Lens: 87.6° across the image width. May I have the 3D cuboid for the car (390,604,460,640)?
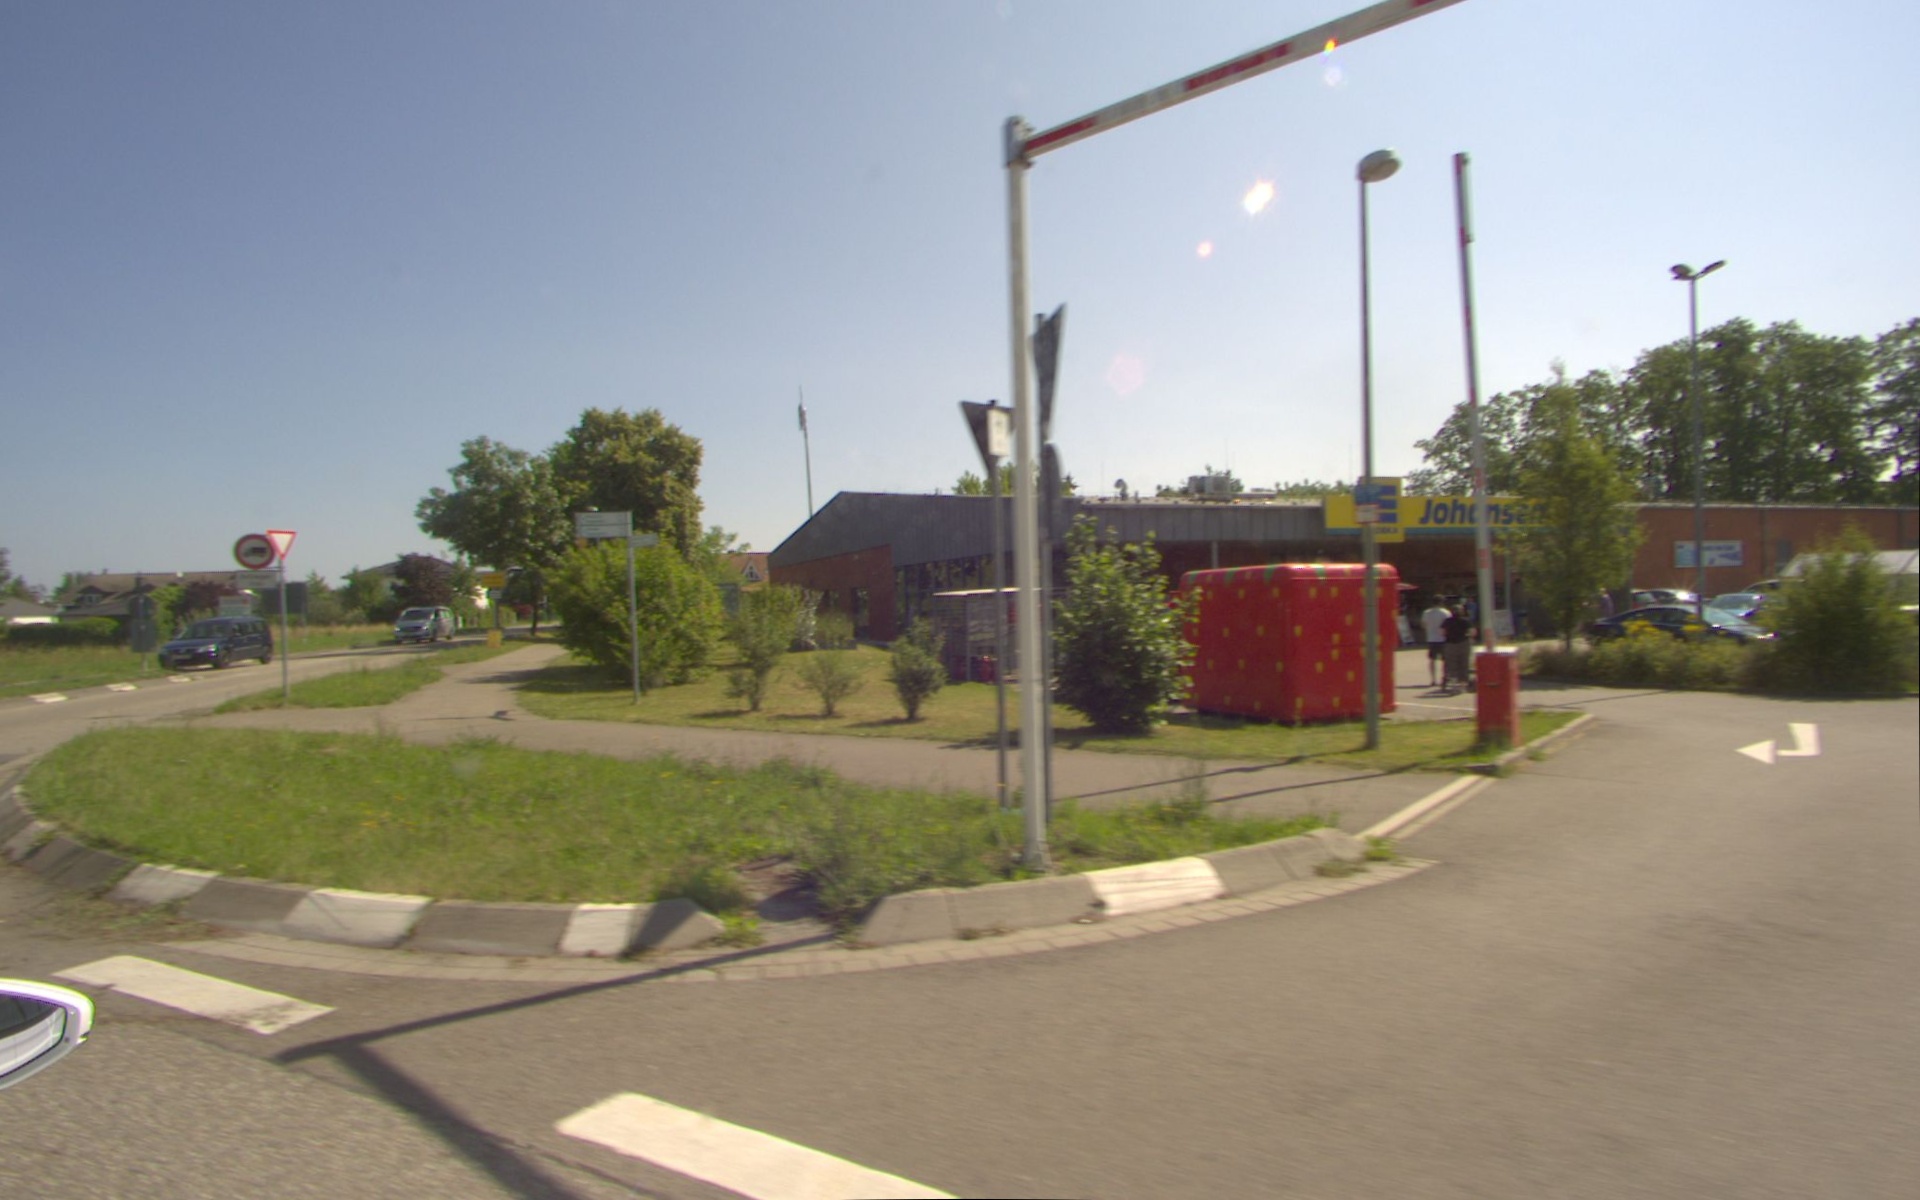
[{"bbox_3d":[-29.109,1.147,54.668,1.963,1.840,5.195,-2,0,-12],"label":"car"}]

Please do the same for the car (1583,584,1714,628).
[{"bbox_3d":[28.106,0.248,40.989,1.969,1.706,3.984,-1,0,-26],"label":"car"}]

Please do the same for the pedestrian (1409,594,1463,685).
[{"bbox_3d":[10.052,0.827,21.178,0.825,1.896,0.774,-1,1,8],"label":"pedestrian"}]

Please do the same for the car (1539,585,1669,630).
[{"bbox_3d":[25.920,0.310,40.457,1.969,1.706,3.984,-1,0,-26],"label":"car"}]

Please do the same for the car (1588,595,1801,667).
[{"bbox_3d":[18.489,0.752,25.422,1.880,1.644,3.990,-1,0,-20],"label":"car"}]

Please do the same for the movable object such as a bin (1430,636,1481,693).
[{"bbox_3d":[9.755,1.250,19.744,0.755,1.060,1.038,-1,0,19],"label":"movable object such as a bin"}]

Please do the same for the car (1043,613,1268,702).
[{"bbox_3d":[3.568,0.990,18.396,3.707,1.465,1.722,0,0,-20],"label":"car"}]

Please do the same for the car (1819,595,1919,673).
[{"bbox_3d":[20.519,0.683,20.361,1.686,1.592,4.419,-1,0,-18],"label":"car"}]

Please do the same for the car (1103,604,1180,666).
[{"bbox_3d":[5.131,0.963,28.280,1.798,1.657,1.127,-1,0,-21],"label":"car"}]

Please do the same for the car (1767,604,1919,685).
[{"bbox_3d":[18.292,0.830,19.659,1.685,1.477,3.487,-1,0,-15],"label":"car"}]

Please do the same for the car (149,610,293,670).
[{"bbox_3d":[-23.991,1.242,32.754,1.782,1.662,4.652,-5,0,-10],"label":"car"}]

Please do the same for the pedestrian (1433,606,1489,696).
[{"bbox_3d":[9.393,0.937,18.808,0.800,1.640,0.924,-1,0,19],"label":"pedestrian"}]

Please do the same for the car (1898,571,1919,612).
[{"bbox_3d":[48.962,-0.453,49.015,1.966,2.040,3.989,-2,0,-21],"label":"car"}]

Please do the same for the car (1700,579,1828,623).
[{"bbox_3d":[35.689,0.051,44.544,1.969,1.840,3.984,-1,0,-26],"label":"car"}]
